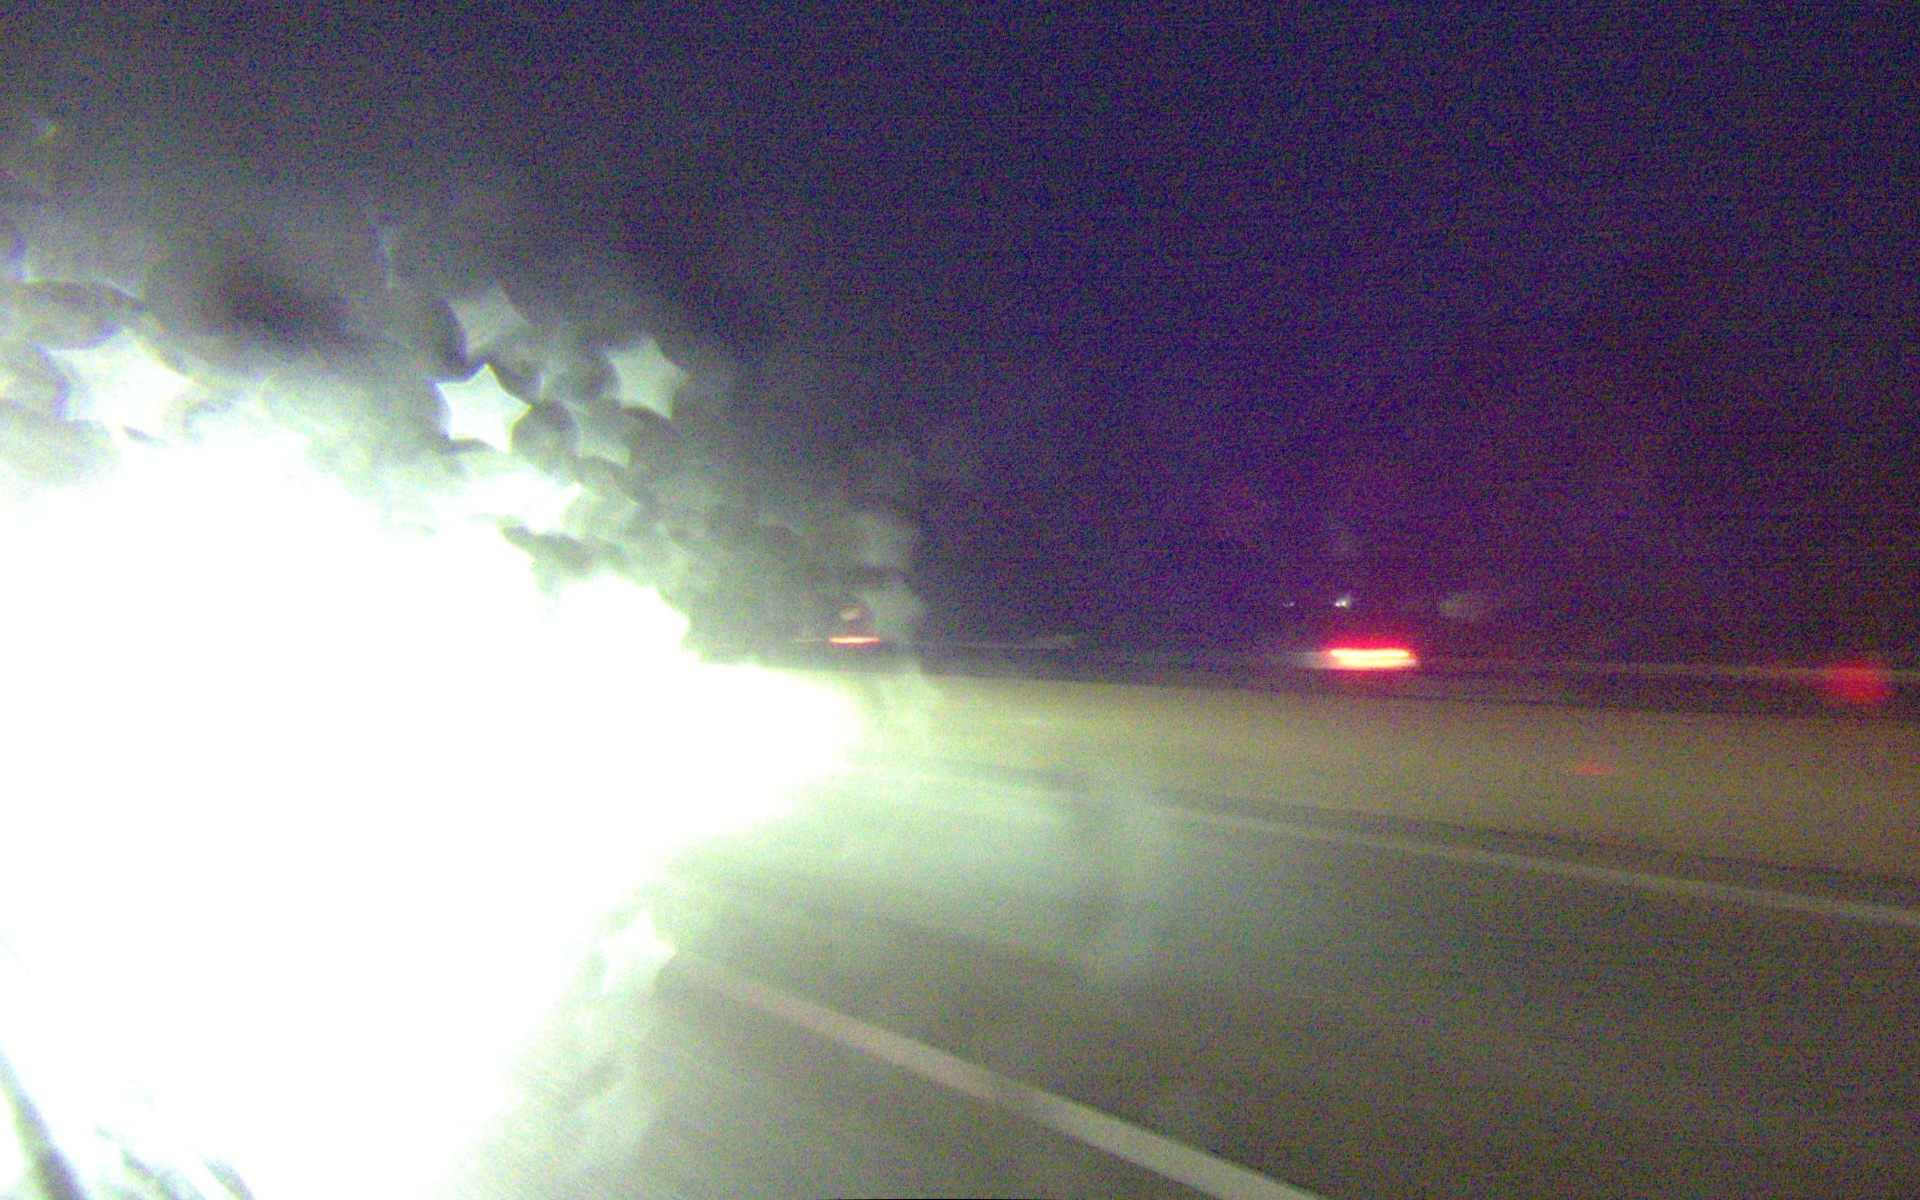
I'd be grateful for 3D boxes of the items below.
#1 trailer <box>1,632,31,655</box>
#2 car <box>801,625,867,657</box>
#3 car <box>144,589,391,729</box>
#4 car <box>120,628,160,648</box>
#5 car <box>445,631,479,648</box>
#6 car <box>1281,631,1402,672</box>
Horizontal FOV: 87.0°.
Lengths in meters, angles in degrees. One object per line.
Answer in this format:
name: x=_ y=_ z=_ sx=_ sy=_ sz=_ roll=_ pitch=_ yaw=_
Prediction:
trailer: x=-183.246 y=8.383 z=196.404 sx=13.926 sy=4.029 sz=2.783 roll=-1 pitch=-4 yaw=42
car: x=-6.883 y=2.218 z=55.105 sx=1.694 sy=1.668 sz=3.667 roll=5 pitch=-4 yaw=-42
car: x=-11.349 y=0.853 z=16.393 sx=5.555 sy=1.899 sz=2.113 roll=-1 pitch=-2 yaw=43
car: x=-68.046 y=3.144 z=83.943 sx=4.291 sy=1.471 sz=1.820 roll=-1 pitch=-4 yaw=42
car: x=-52.661 y=4.192 z=107.028 sx=1.970 sy=1.785 sz=4.573 roll=0 pitch=-2 yaw=-44
car: x=12.899 y=1.709 z=34.314 sx=3.555 sy=1.294 sz=1.469 roll=-1 pitch=-1 yaw=43
